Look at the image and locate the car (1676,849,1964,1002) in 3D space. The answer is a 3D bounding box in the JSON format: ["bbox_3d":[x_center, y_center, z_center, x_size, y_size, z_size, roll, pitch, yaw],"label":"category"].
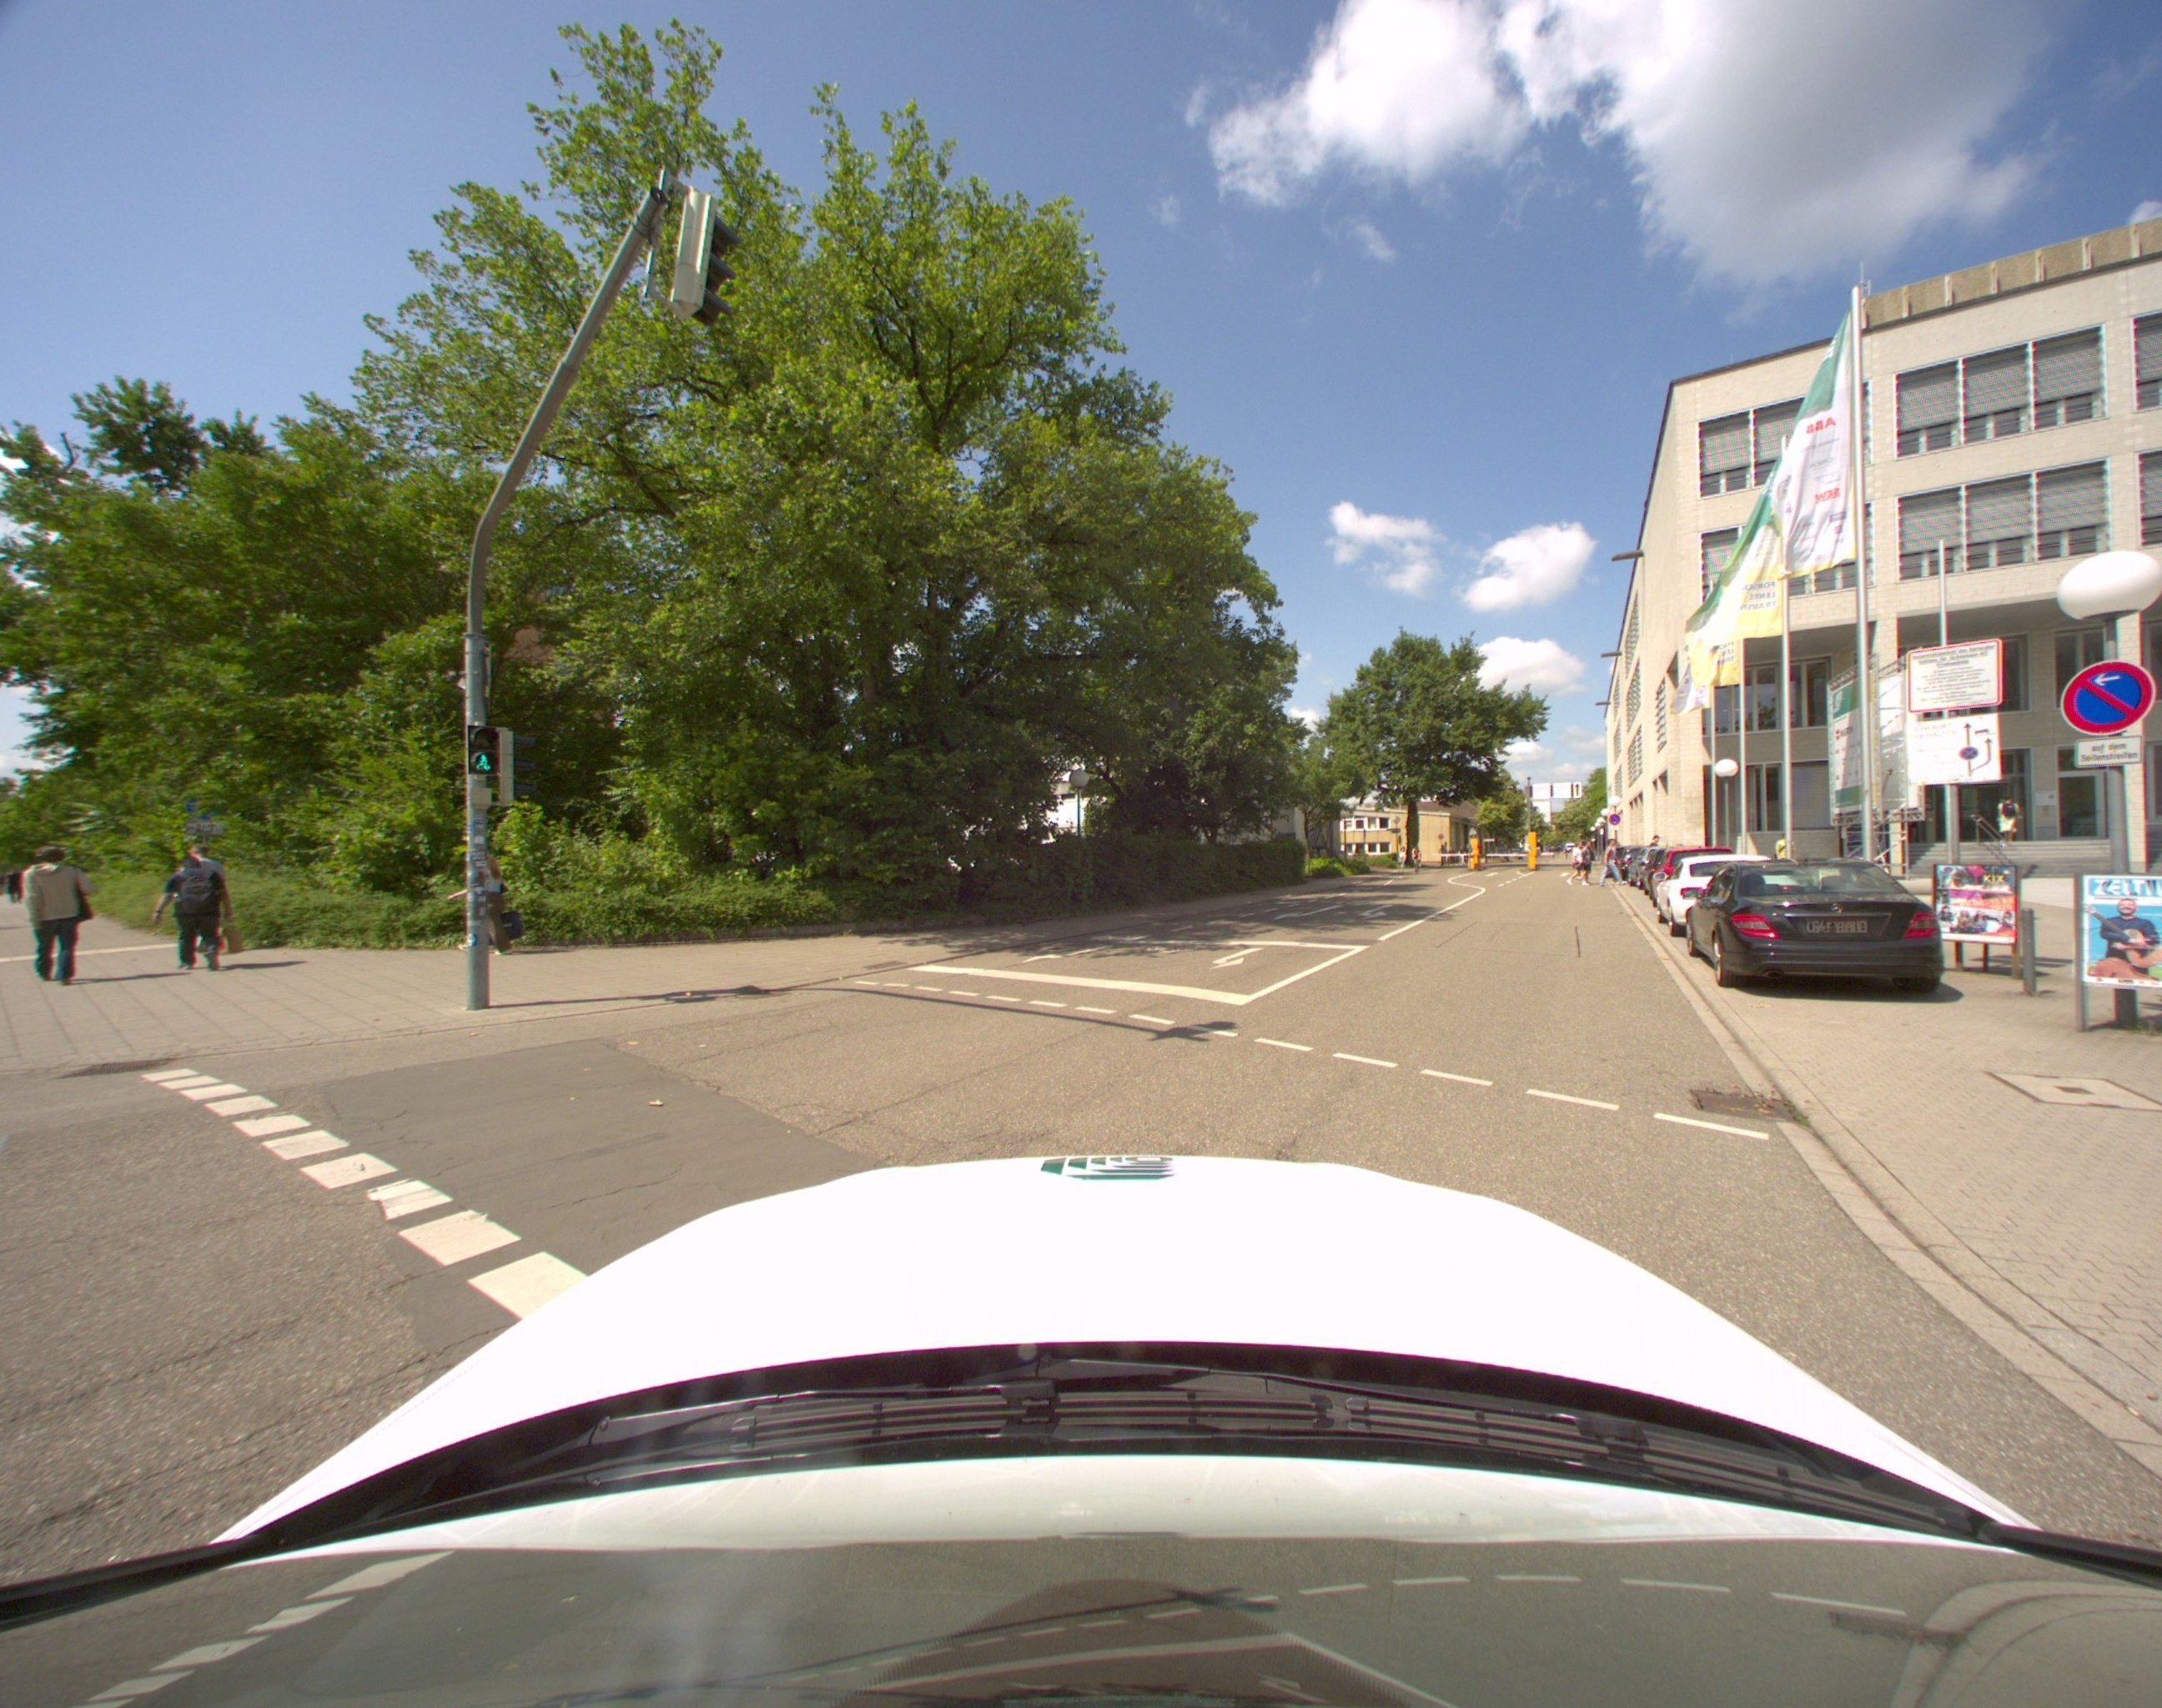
[{"bbox_3d":[8.709,0.693,10.101,1.701,1.400,4.980,-4,-1,32],"label":"car"}]

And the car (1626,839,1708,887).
[{"bbox_3d":[20.499,0.288,28.648,1.703,1.529,4.594,-3,-1,29],"label":"car"}]

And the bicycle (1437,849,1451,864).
[{"bbox_3d":[28.851,0.197,64.695,0.686,1.171,2.223,-2,-1,31],"label":"bicycle"}]

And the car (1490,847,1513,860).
[{"bbox_3d":[49.782,-0.081,96.399,1.974,1.545,4.238,-1,0,32],"label":"car"}]

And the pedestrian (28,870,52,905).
[{"bbox_3d":[-57.098,1.852,44.673,0.556,1.891,0.503,0,-2,1],"label":"pedestrian"}]

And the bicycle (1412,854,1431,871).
[{"bbox_3d":[21.438,0.534,51.243,0.785,0.989,2.223,-2,-1,31],"label":"bicycle"}]

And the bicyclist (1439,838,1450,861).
[{"bbox_3d":[28.773,-0.360,64.500,0.686,1.737,0.924,-2,-1,31],"label":"bicyclist"}]

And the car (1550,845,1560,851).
[{"bbox_3d":[132.831,-1.660,228.201,1.974,1.720,4.025,-2,-2,34],"label":"car"}]

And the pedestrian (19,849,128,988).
[{"bbox_3d":[-13.179,0.793,10.689,1.167,1.704,0.802,0,-1,43],"label":"pedestrian"}]

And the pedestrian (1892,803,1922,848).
[{"bbox_3d":[31.491,-1.072,31.062,0.626,1.666,0.721,-2,-3,34],"label":"pedestrian"}]

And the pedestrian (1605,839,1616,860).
[{"bbox_3d":[45.351,-0.411,69.775,0.688,1.781,1.092,-3,-1,30],"label":"pedestrian"}]

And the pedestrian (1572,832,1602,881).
[{"bbox_3d":[20.353,0.106,32.776,0.738,1.925,0.776,-1,-1,-36],"label":"pedestrian"}]

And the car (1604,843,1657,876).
[{"bbox_3d":[25.846,0.237,38.410,1.848,1.464,4.549,-1,0,31],"label":"car"}]

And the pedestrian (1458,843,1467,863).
[{"bbox_3d":[35.897,-0.091,76.637,0.698,1.809,1.008,-2,0,30],"label":"pedestrian"}]

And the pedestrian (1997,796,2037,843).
[{"bbox_3d":[32.823,-1.201,28.576,0.711,1.585,0.721,-2,-3,34],"label":"pedestrian"}]

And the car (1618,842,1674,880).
[{"bbox_3d":[23.571,0.261,34.100,1.599,1.496,4.031,-1,0,30],"label":"car"}]

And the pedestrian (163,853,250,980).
[{"bbox_3d":[-12.495,0.839,11.653,1.167,1.704,0.802,0,-1,43],"label":"pedestrian"}]

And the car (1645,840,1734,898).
[{"bbox_3d":[17.481,0.410,23.556,1.702,1.529,4.025,-2,-1,32],"label":"car"}]

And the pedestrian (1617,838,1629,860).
[{"bbox_3d":[46.038,-0.435,69.170,0.759,1.781,0.916,-3,-1,30],"label":"pedestrian"}]

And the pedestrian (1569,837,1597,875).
[{"bbox_3d":[23.312,0.107,37.850,0.621,1.717,1.040,-1,-1,0],"label":"pedestrian"}]

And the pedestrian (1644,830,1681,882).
[{"bbox_3d":[22.179,0.072,31.092,1.084,1.920,1.027,-1,0,33],"label":"pedestrian"}]

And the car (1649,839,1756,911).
[{"bbox_3d":[14.711,0.450,19.471,1.598,1.496,4.173,-4,-1,32],"label":"car"}]

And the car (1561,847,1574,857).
[{"bbox_3d":[93.507,-0.354,156.575,1.974,1.720,4.025,-2,-2,34],"label":"car"}]

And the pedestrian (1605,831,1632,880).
[{"bbox_3d":[21.483,0.044,32.531,0.755,1.925,0.717,-1,-1,-43],"label":"pedestrian"}]

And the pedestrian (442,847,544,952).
[{"bbox_3d":[-9.530,0.705,13.224,1.010,1.626,0.860,0,1,12],"label":"pedestrian"}]

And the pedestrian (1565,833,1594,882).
[{"bbox_3d":[19.791,0.127,32.352,0.596,1.925,0.777,-1,-1,-36],"label":"pedestrian"}]

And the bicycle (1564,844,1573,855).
[{"bbox_3d":[65.616,-0.557,109.529,0.977,1.316,2.982,-2,-2,31],"label":"bicycle"}]

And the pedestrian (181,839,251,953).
[{"bbox_3d":[-14.373,0.677,13.535,0.694,1.821,0.677,0,-1,35],"label":"pedestrian"}]

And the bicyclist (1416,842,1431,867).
[{"bbox_3d":[21.529,0.057,51.215,0.686,1.548,1.025,-2,-1,31],"label":"bicyclist"}]

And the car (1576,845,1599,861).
[{"bbox_3d":[53.188,-0.095,85.478,1.974,1.546,4.238,-1,0,32],"label":"car"}]

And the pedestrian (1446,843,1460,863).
[{"bbox_3d":[35.487,-0.103,77.721,1.046,1.816,0.811,-2,0,30],"label":"pedestrian"}]

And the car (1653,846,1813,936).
[{"bbox_3d":[11.807,0.607,15.044,1.701,1.400,4.467,-4,-2,32],"label":"car"}]

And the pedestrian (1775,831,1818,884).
[{"bbox_3d":[24.037,0.111,27.370,0.909,1.740,1.008,-1,-1,32],"label":"pedestrian"}]

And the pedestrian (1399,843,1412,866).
[{"bbox_3d":[23.343,0.008,58.642,0.706,1.627,0.889,-1,0,30],"label":"pedestrian"}]
